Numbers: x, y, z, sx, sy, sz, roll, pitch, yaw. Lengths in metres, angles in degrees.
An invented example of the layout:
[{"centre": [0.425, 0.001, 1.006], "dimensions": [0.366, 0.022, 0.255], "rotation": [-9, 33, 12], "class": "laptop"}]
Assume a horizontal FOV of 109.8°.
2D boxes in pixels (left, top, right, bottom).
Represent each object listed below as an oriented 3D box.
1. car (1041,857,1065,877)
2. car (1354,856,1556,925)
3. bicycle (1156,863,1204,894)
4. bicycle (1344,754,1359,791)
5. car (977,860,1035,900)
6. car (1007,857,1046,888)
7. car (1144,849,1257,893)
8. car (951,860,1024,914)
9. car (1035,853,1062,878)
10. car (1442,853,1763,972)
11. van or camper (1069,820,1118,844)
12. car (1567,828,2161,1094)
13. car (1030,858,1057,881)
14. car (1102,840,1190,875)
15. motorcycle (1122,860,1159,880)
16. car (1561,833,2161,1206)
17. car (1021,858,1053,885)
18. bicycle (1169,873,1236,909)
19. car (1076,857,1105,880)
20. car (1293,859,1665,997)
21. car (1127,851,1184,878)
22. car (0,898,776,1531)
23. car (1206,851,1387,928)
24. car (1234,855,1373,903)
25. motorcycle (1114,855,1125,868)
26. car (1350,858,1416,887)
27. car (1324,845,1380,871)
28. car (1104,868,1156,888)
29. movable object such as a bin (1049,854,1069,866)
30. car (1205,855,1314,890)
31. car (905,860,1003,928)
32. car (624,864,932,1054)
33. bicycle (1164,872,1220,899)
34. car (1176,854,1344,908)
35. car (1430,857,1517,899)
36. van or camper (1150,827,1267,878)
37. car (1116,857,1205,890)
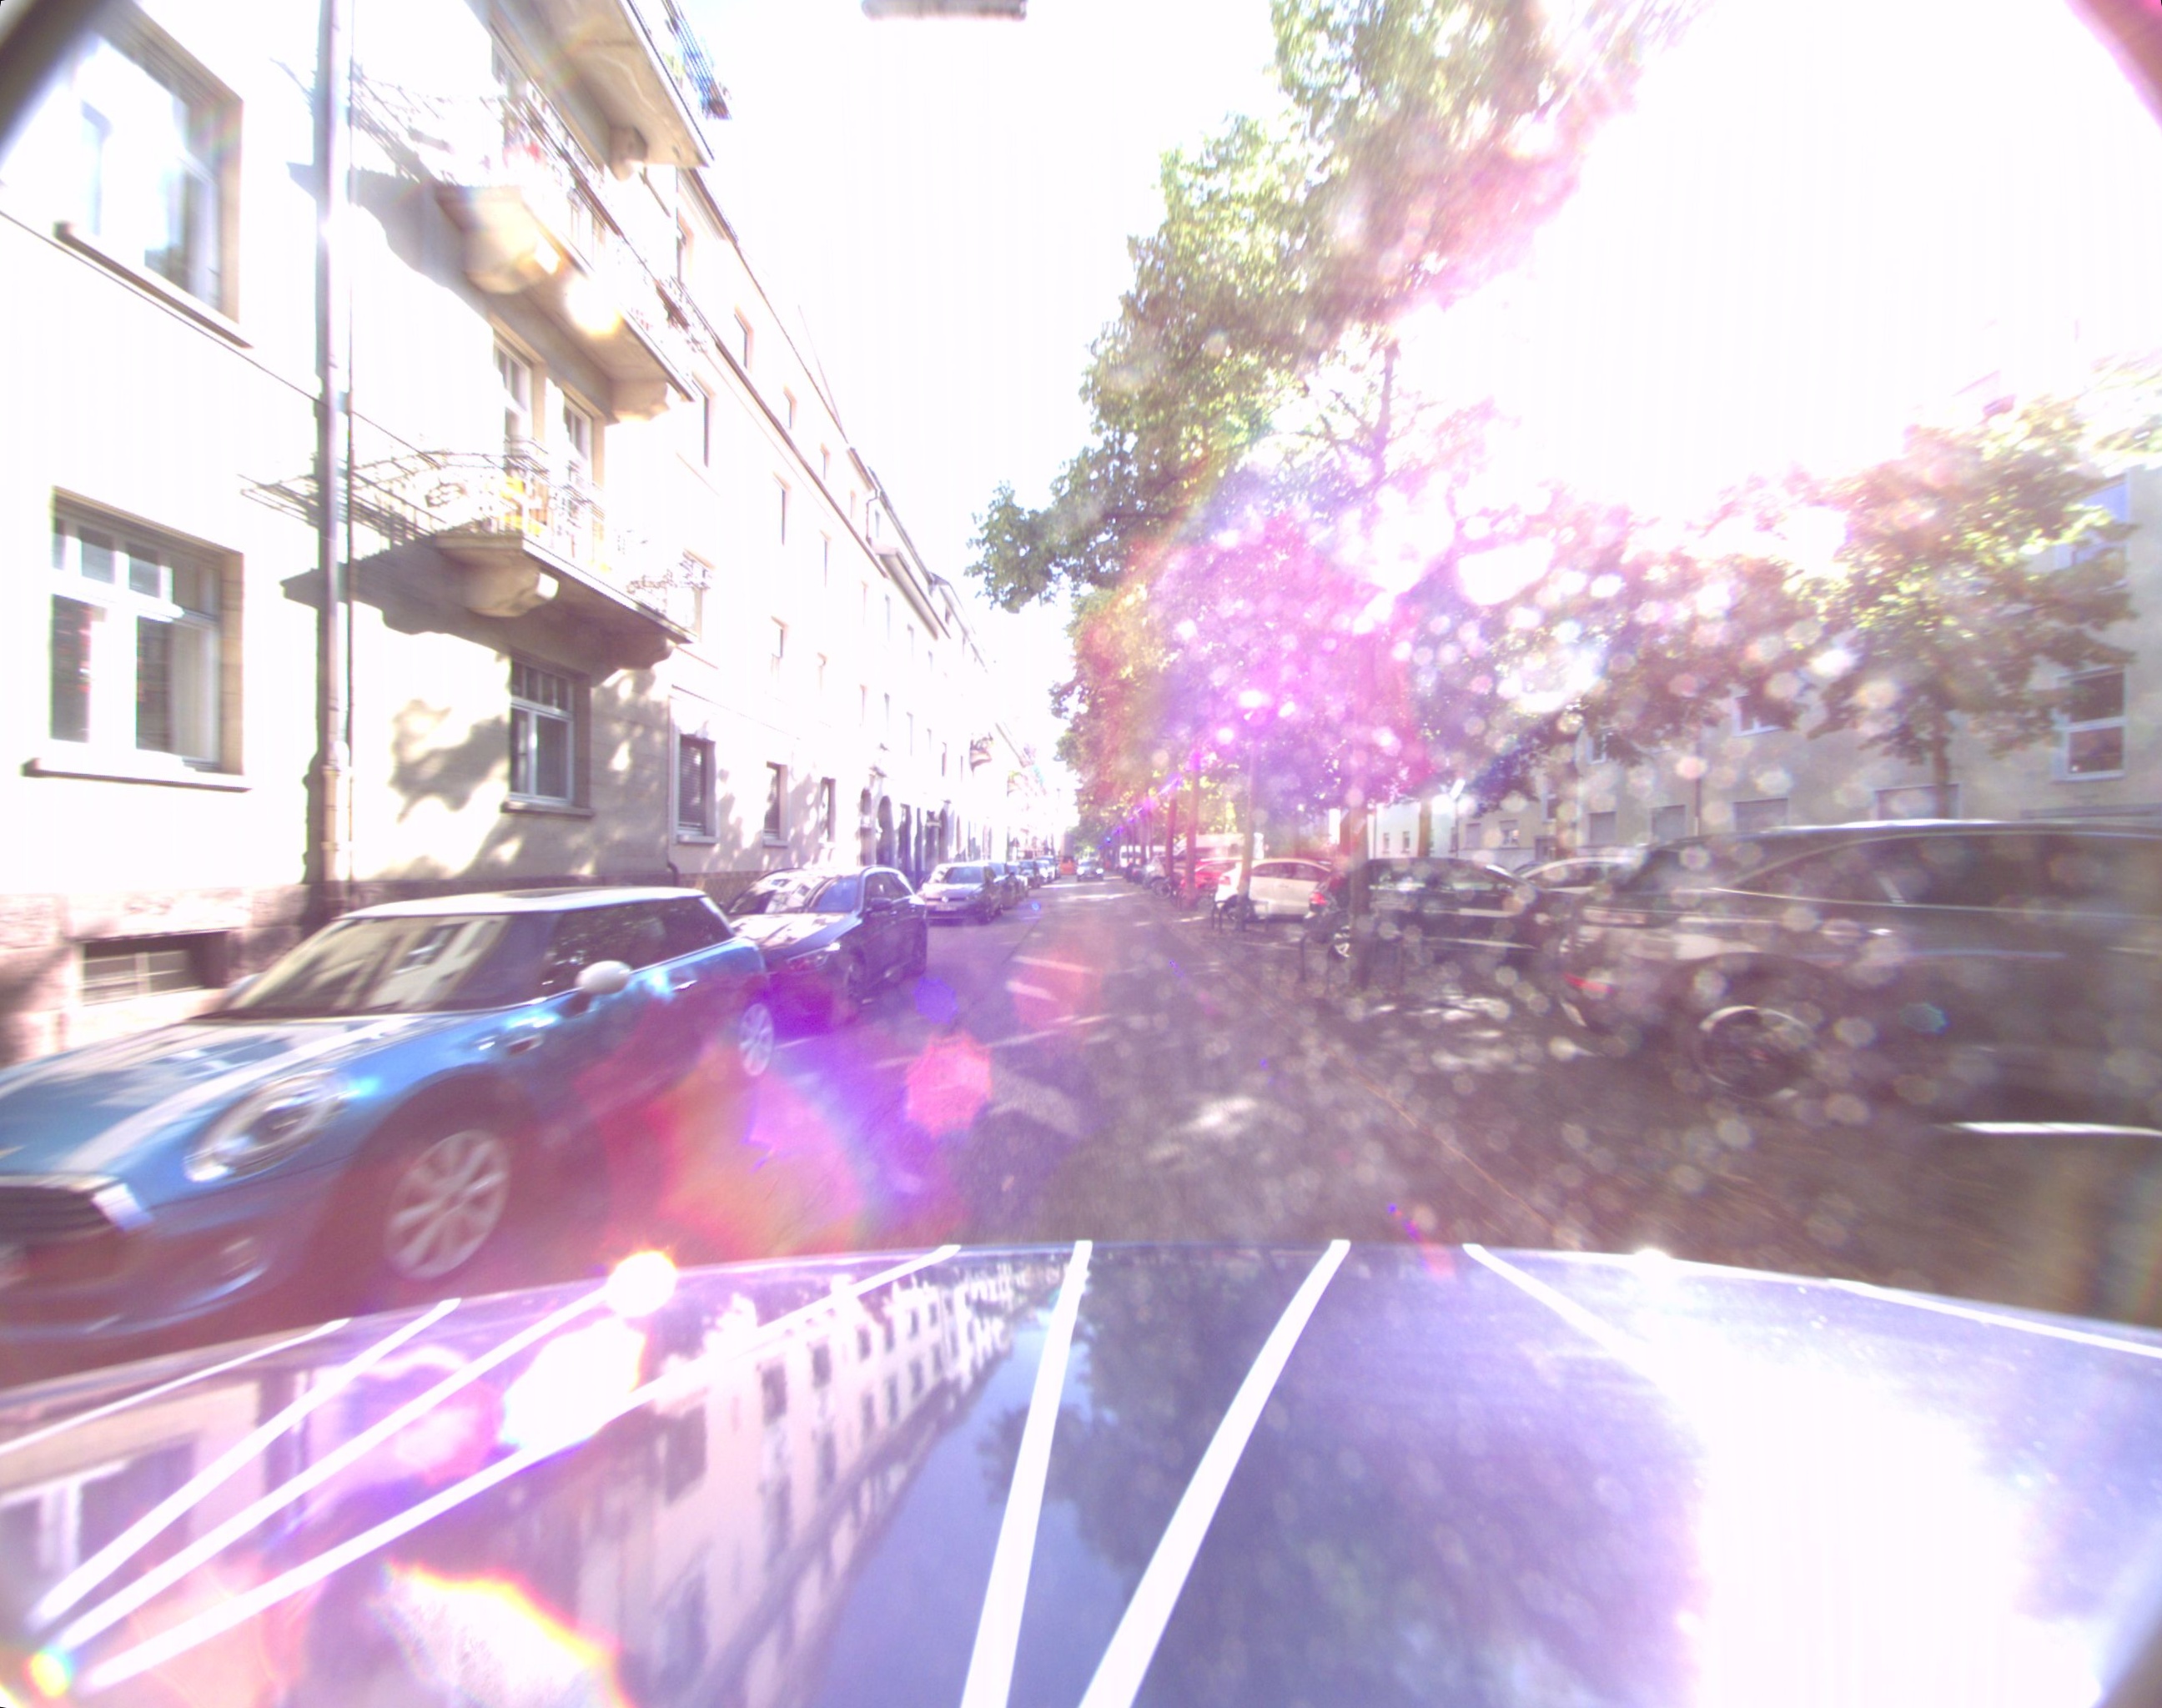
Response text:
[{"centre": [-2.223, 1.033, 61.519], "dimensions": [1.709, 1.502, 4.284], "rotation": [1, 0, 1], "class": "car"}, {"centre": [8.657, 0.767, 17.687], "dimensions": [3.988, 1.427, 1.801], "rotation": [0, 0, 34], "class": "car"}, {"centre": [3.674, 0.904, 28.154], "dimensions": [1.687, 1.152, 0.379], "rotation": [-1, 1, 20], "class": "bicycle"}, {"centre": [10.016, -3.008, 28.112], "dimensions": [0.355, 1.193, 1.804], "rotation": [-1, 0, 25], "class": "bicycle"}, {"centre": [-2.883, 0.965, 29.973], "dimensions": [1.774, 1.423, 4.291], "rotation": [0, 0, 1], "class": "car"}, {"centre": [-2.792, 0.919, 39.580], "dimensions": [1.584, 1.541, 4.042], "rotation": [0, 0, 2], "class": "car"}, {"centre": [4.823, 0.670, 30.628], "dimensions": [4.078, 1.643, 1.866], "rotation": [-1, 0, 28], "class": "car"}, {"centre": [-2.920, 0.990, 24.546], "dimensions": [1.772, 1.542, 4.183], "rotation": [-2, 0, 0], "class": "car"}, {"centre": [-2.375, 0.824, 56.502], "dimensions": [1.776, 1.783, 3.989], "rotation": [1, 0, 0], "class": "car"}, {"centre": [8.005, 0.796, 12.060], "dimensions": [3.904, 1.546, 1.850], "rotation": [1, 0, 31], "class": "car"}, {"centre": [1.649, -2.933, 101.271], "dimensions": [6.016, 2.984, 2.404], "rotation": [1, 0, 29], "class": "van or camper"}, {"centre": [6.737, 0.692, 6.320], "dimensions": [4.382, 1.767, 1.903], "rotation": [1, 1, 28], "class": "car"}, {"centre": [-2.478, 0.985, 51.035], "dimensions": [1.611, 1.412, 4.568], "rotation": [1, 0, 0], "class": "car"}, {"centre": [4.953, 0.258, 58.146], "dimensions": [6.310, 2.544, 2.343], "rotation": [0, 1, 33], "class": "car"}, {"centre": [3.664, 0.972, 46.481], "dimensions": [2.151, 1.222, 0.882], "rotation": [-1, 0, 10], "class": "motorcycle"}, {"centre": [5.111, 0.717, 4.057], "dimensions": [4.264, 1.632, 1.658], "rotation": [-1, 0, 33], "class": "car"}, {"centre": [-2.573, 0.998, 45.458], "dimensions": [1.603, 1.484, 3.966], "rotation": [1, 0, 1], "class": "car"}, {"centre": [3.449, 1.056, 21.617], "dimensions": [1.813, 0.988, 0.426], "rotation": [-1, 1, 16], "class": "bicycle"}, {"centre": [0.709, 0.952, 52.370], "dimensions": [1.792, 1.510, 4.001], "rotation": [1, 0, 3], "class": "car"}, {"centre": [5.146, 0.831, 10.193], "dimensions": [4.098, 1.473, 1.735], "rotation": [0, 1, 32], "class": "car"}, {"centre": [4.811, 0.668, 49.385], "dimensions": [1.667, 1.608, 3.870], "rotation": [1, 0, -31], "class": "car"}, {"centre": [-3.107, 1.044, 3.773], "dimensions": [1.594, 1.407, 3.632], "rotation": [-1, 0, 2], "class": "car"}, {"centre": [4.905, 0.747, 17.296], "dimensions": [3.685, 1.586, 1.776], "rotation": [-1, 0, 26], "class": "car"}, {"centre": [7.345, 0.781, 25.168], "dimensions": [4.105, 1.464, 1.875], "rotation": [0, 0, 29], "class": "car"}, {"centre": [4.103, 0.815, 80.065], "dimensions": [0.631, 1.317, 2.231], "rotation": [-1, 0, 16], "class": "motorcycle"}, {"centre": [15.680, 0.912, 39.675], "dimensions": [1.648, 1.391, 4.304], "rotation": [-2, 0, -1], "class": "car"}, {"centre": [16.282, 0.234, 45.838], "dimensions": [1.754, 1.427, 4.081], "rotation": [2, 0, -2], "class": "car"}, {"centre": [4.179, 2.095, 65.603], "dimensions": [4.090, 1.516, 1.705], "rotation": [-4, -2, 31], "class": "car"}, {"centre": [-2.851, 0.826, 98.401], "dimensions": [1.871, 1.518, 1.631], "rotation": [1, 0, 35], "class": "movable object such as a bin"}, {"centre": [7.716, 0.767, 32.968], "dimensions": [4.187, 1.383, 1.822], "rotation": [0, 0, 34], "class": "car"}, {"centre": [-3.022, 0.911, 18.864], "dimensions": [1.696, 1.459, 4.005], "rotation": [-1, 0, 1], "class": "car"}, {"centre": [-3.022, 0.930, 8.678], "dimensions": [1.810, 1.554, 4.320], "rotation": [1, 0, -1], "class": "car"}, {"centre": [3.876, 1.096, 26.617], "dimensions": [1.900, 0.913, 0.379], "rotation": [-1, 1, 20], "class": "bicycle"}, {"centre": [5.356, 0.781, 22.991], "dimensions": [4.616, 1.477, 1.764], "rotation": [-1, 0, 33], "class": "car"}, {"centre": [15.942, 0.926, 31.043], "dimensions": [1.621, 1.566, 3.579], "rotation": [2, 0, -1], "class": "car"}, {"centre": [7.456, -0.047, 44.758], "dimensions": [6.290, 2.808, 2.412], "rotation": [-1, 0, 29], "class": "van or camper"}, {"centre": [3.829, 0.913, 37.022], "dimensions": [4.008, 1.465, 1.630], "rotation": [1, 0, 36], "class": "car"}]
